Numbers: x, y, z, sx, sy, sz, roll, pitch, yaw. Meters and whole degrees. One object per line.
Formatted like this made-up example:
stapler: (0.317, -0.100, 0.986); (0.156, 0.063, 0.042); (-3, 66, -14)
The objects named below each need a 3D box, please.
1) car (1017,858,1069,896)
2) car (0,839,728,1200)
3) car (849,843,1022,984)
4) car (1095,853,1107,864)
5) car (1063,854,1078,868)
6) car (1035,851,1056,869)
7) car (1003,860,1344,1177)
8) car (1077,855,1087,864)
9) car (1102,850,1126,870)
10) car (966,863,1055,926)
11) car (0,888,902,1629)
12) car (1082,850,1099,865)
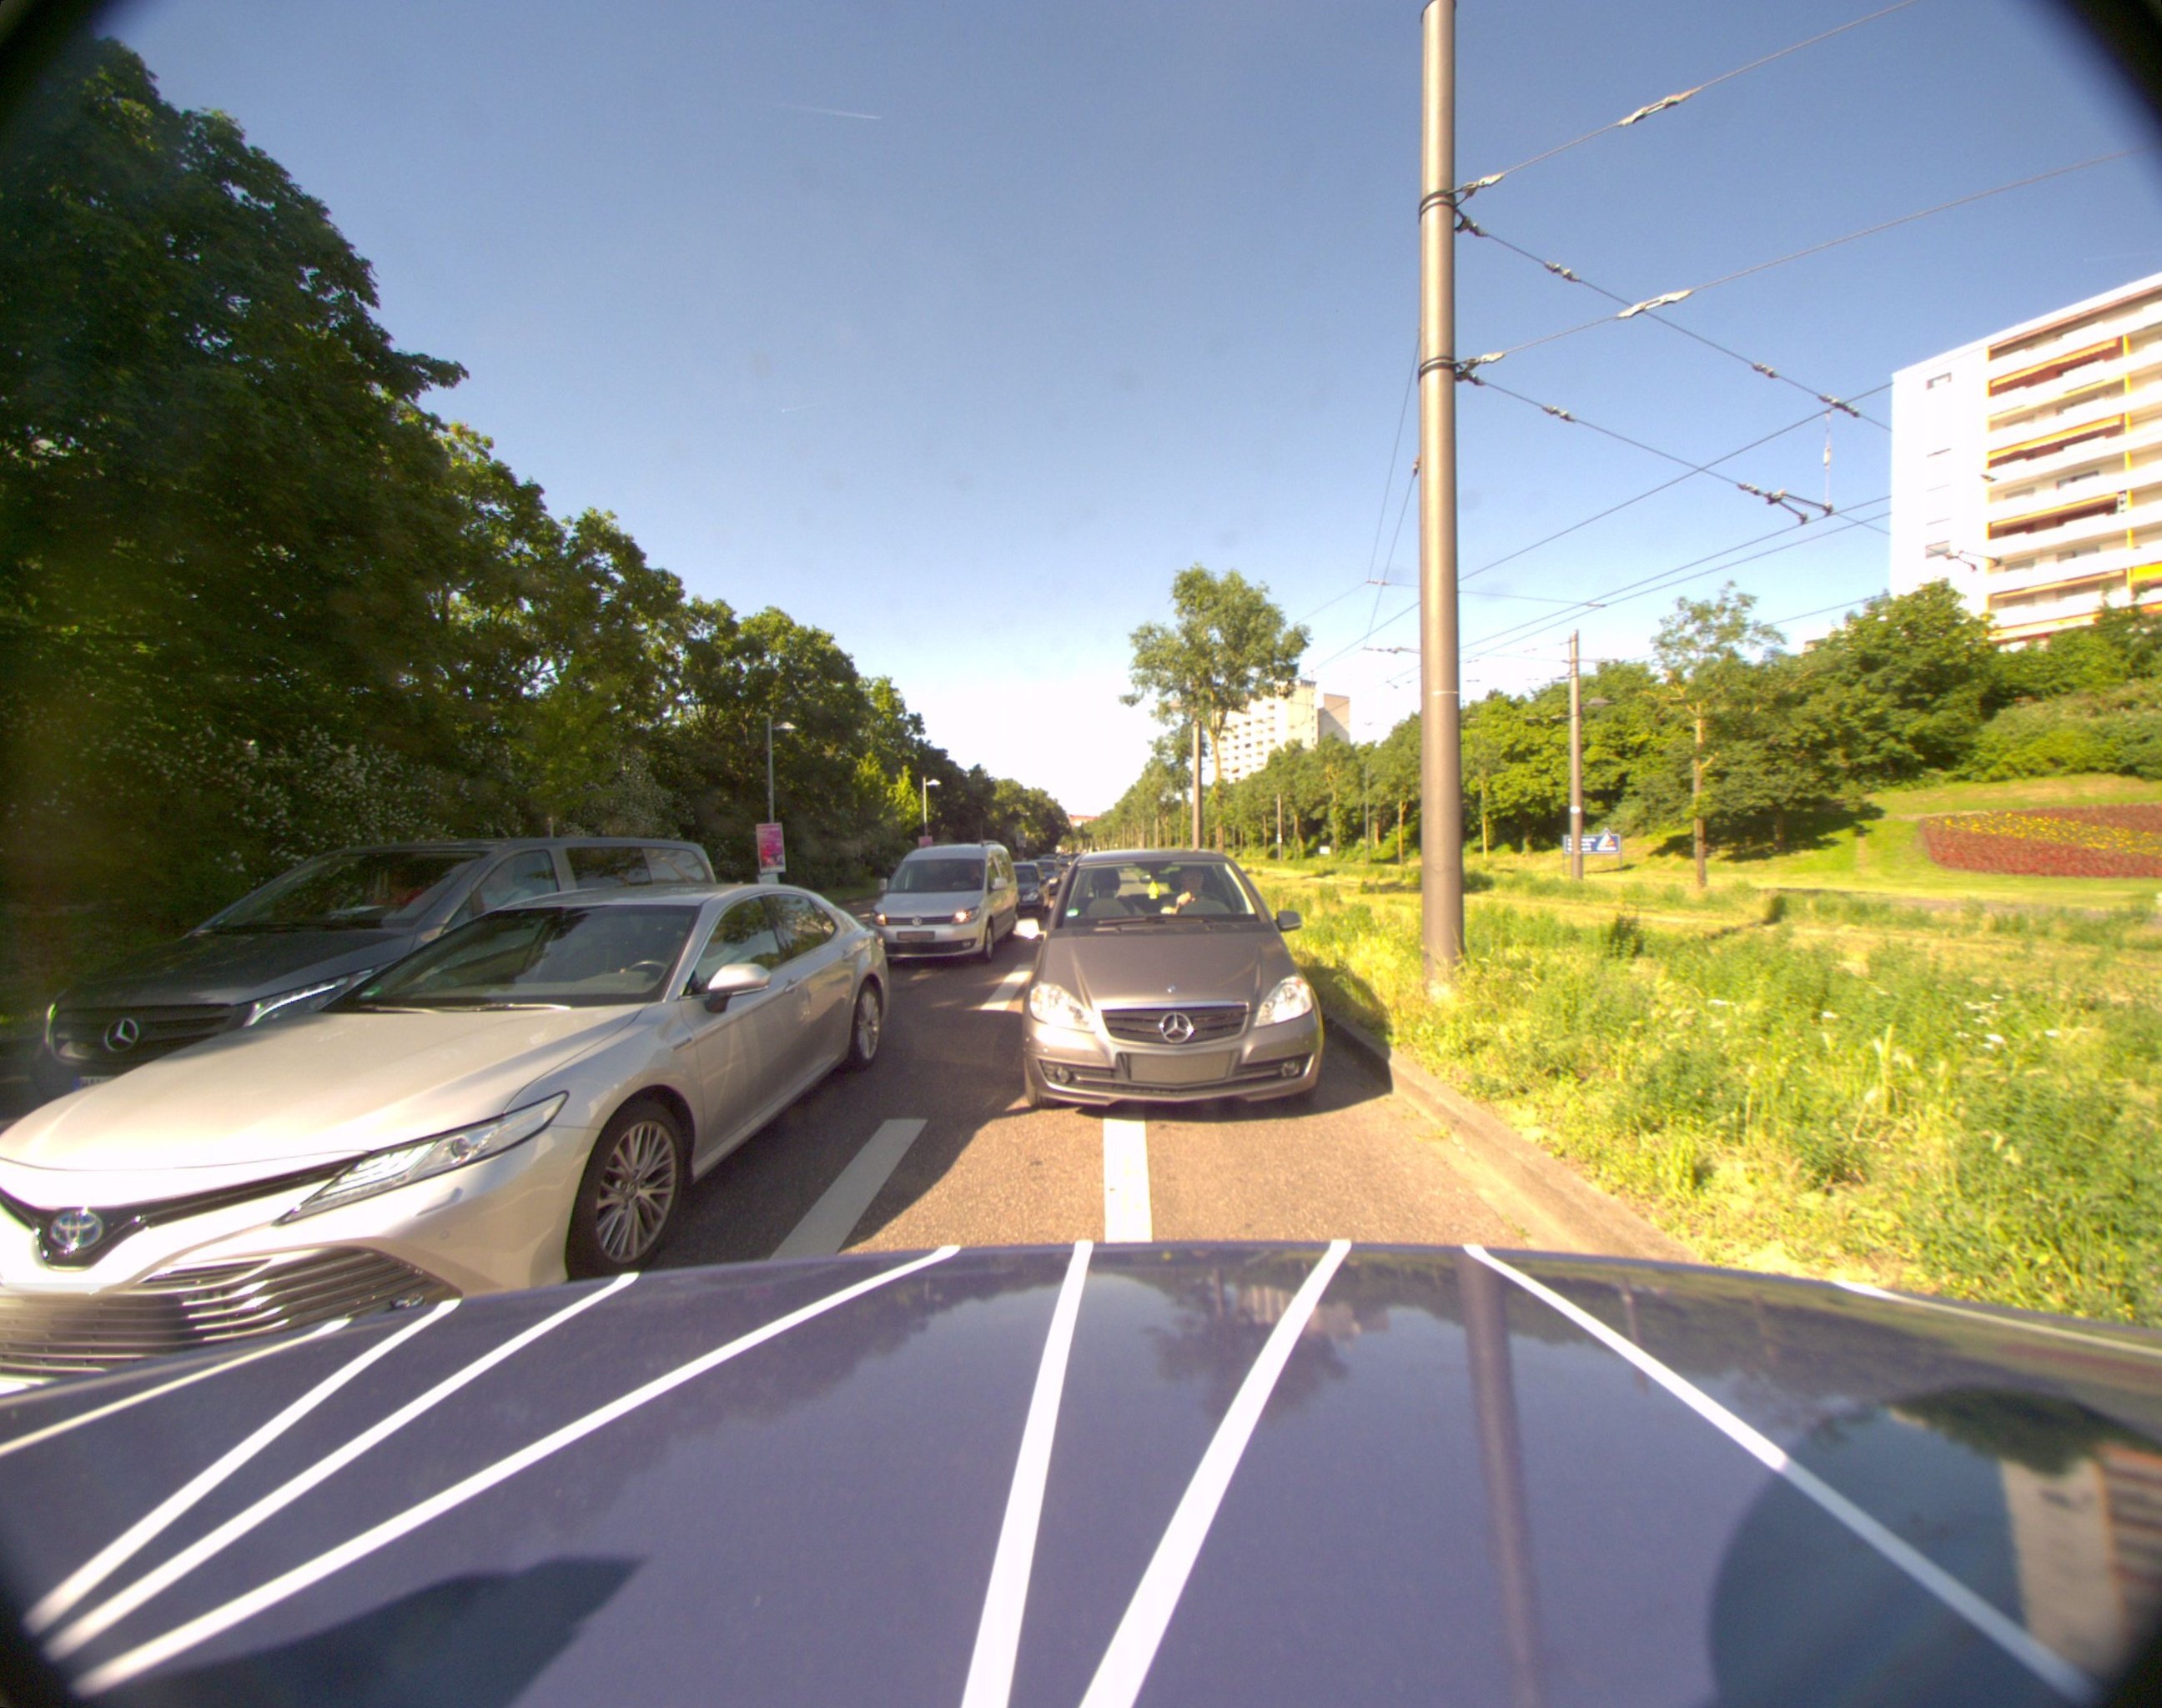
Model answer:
car: (-1.495, 0.892, 31.066); (1.776, 1.395, 4.067); (-1, 0, 2)
car: (-5.323, 0.866, 6.561); (1.998, 1.882, 5.148); (-1, 0, 1)
car: (-2.149, 0.793, 12.618); (1.822, 1.893, 4.622); (-1, 0, 2)
car: (3.026, 0.725, 114.833); (1.777, 1.597, 4.384); (-1, 0, 1)
car: (-1.277, 0.837, 95.511); (1.777, 1.597, 4.384); (-1, 0, 1)
car: (-3.369, 0.532, 72.478); (1.777, 1.597, 4.384); (-1, 0, 1)
car: (0.520, 0.894, 6.205); (1.777, 1.597, 4.384); (-1, 0, 1)
car: (0.223, 0.930, 134.548); (1.777, 1.597, 4.300); (-1, 0, 1)
car: (2.641, 0.476, 62.096); (1.777, 1.597, 4.384); (-1, 0, 1)
car: (-1.718, 0.966, 19.714); (1.776, 1.395, 4.067); (-1, 0, 2)
car: (-2.641, 1.044, 4.120); (2.069, 1.451, 4.749); (-1, 0, 2)
car: (1.087, 0.398, 86.062); (1.777, 1.597, 4.384); (-1, 0, 1)
